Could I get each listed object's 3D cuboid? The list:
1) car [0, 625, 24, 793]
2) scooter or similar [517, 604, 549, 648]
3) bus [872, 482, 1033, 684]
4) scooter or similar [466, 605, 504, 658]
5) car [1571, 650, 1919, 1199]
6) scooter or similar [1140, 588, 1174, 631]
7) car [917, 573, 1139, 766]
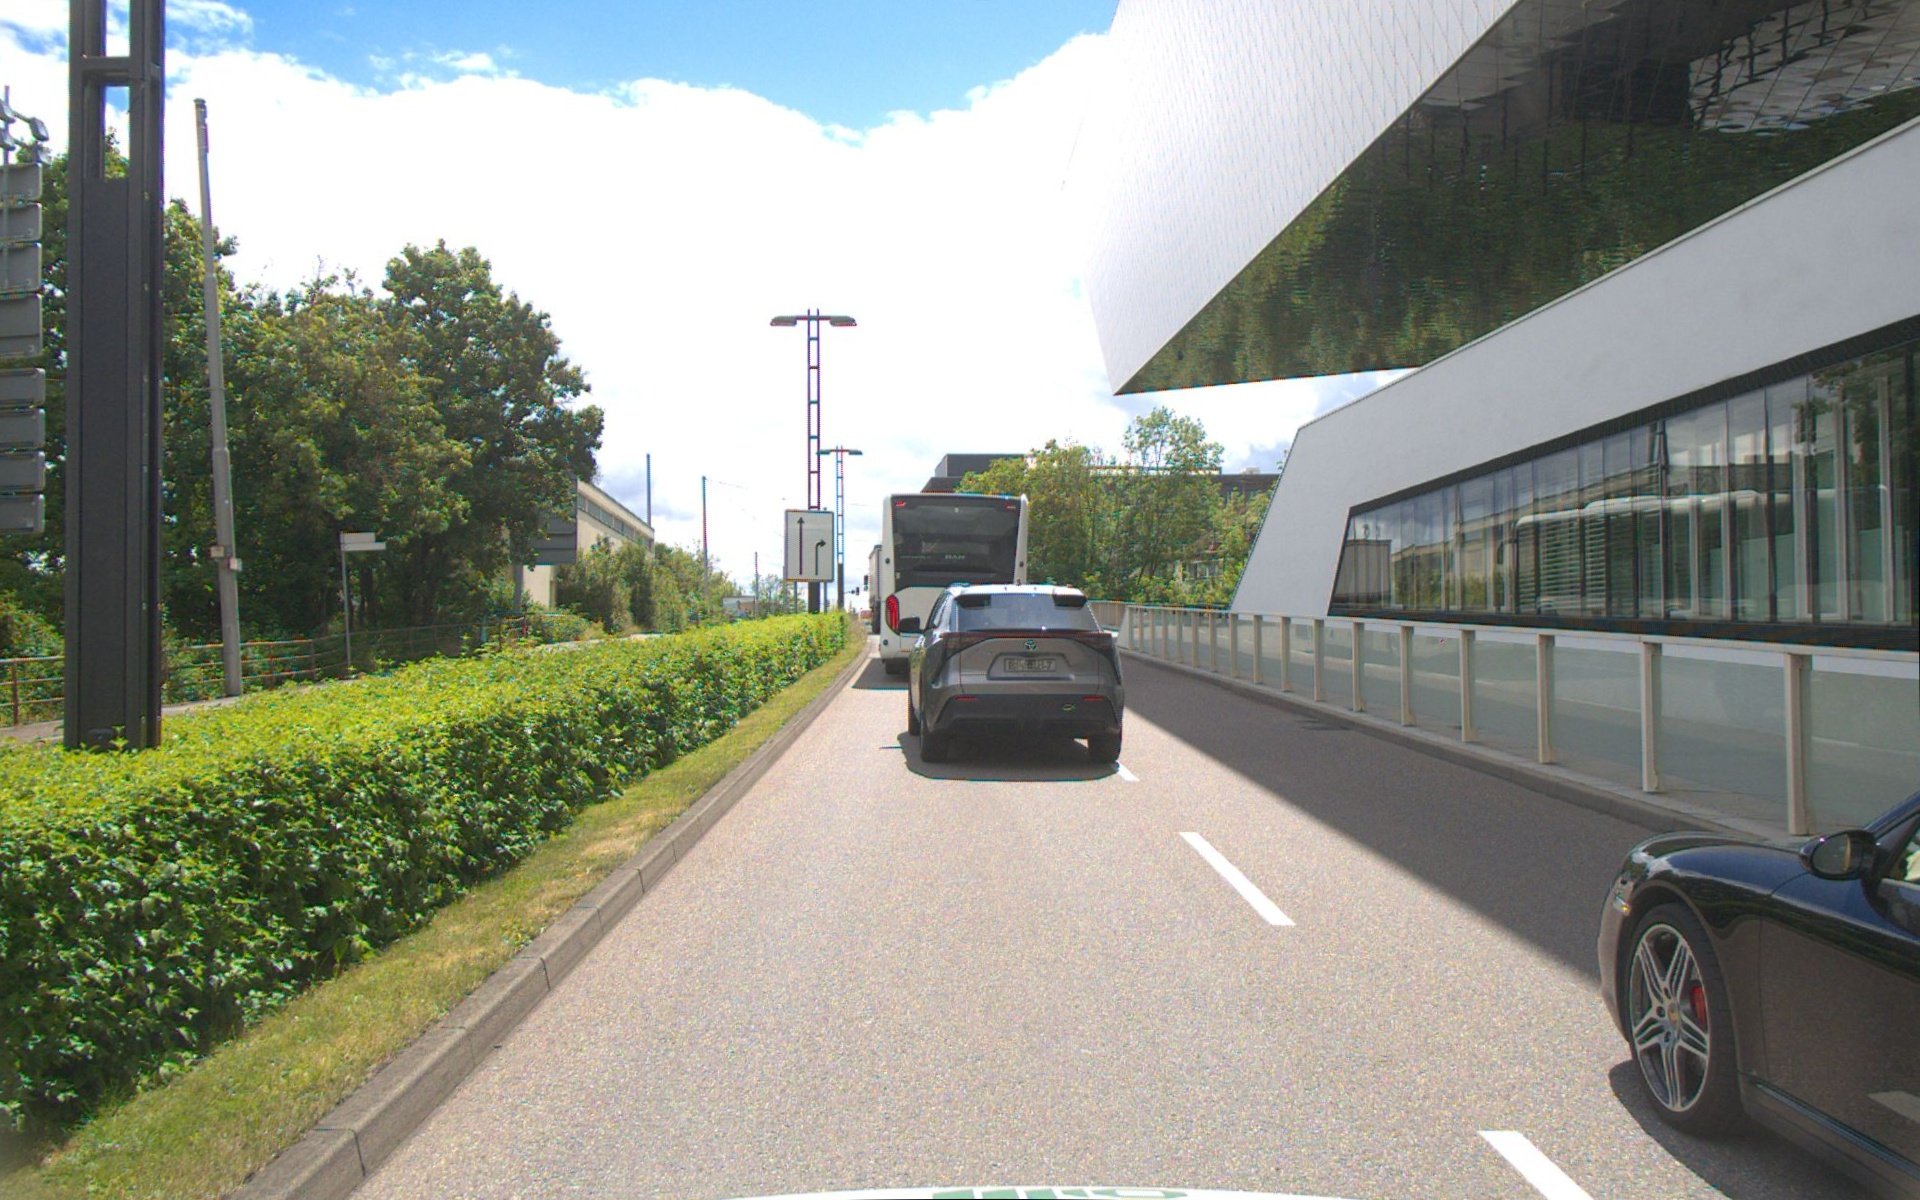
[{"bbox_3d":[-9.811,1.035,13.293,1.801,1.534,4.563,-1,0,3],"label":"car"},{"bbox_3d":[-12.539,0.756,48.636,0.481,1.237,1.643,-1,0,1],"label":"scooter or similar"},{"bbox_3d":[-0.179,-0.374,33.489,2.634,3.312,12.056,1,1,-1],"label":"bus"},{"bbox_3d":[-12.389,0.808,43.175,0.481,1.327,1.643,1,0,1],"label":"scooter or similar"},{"bbox_3d":[2.938,0.813,3.550,1.685,1.297,4.087,0,0,-1],"label":"car"},{"bbox_3d":[5.884,0.285,49.506,0.640,1.235,1.856,-1,0,-4],"label":"scooter or similar"},{"bbox_3d":[0.524,0.602,16.141,1.842,1.622,4.228,1,0,-2],"label":"car"}]
